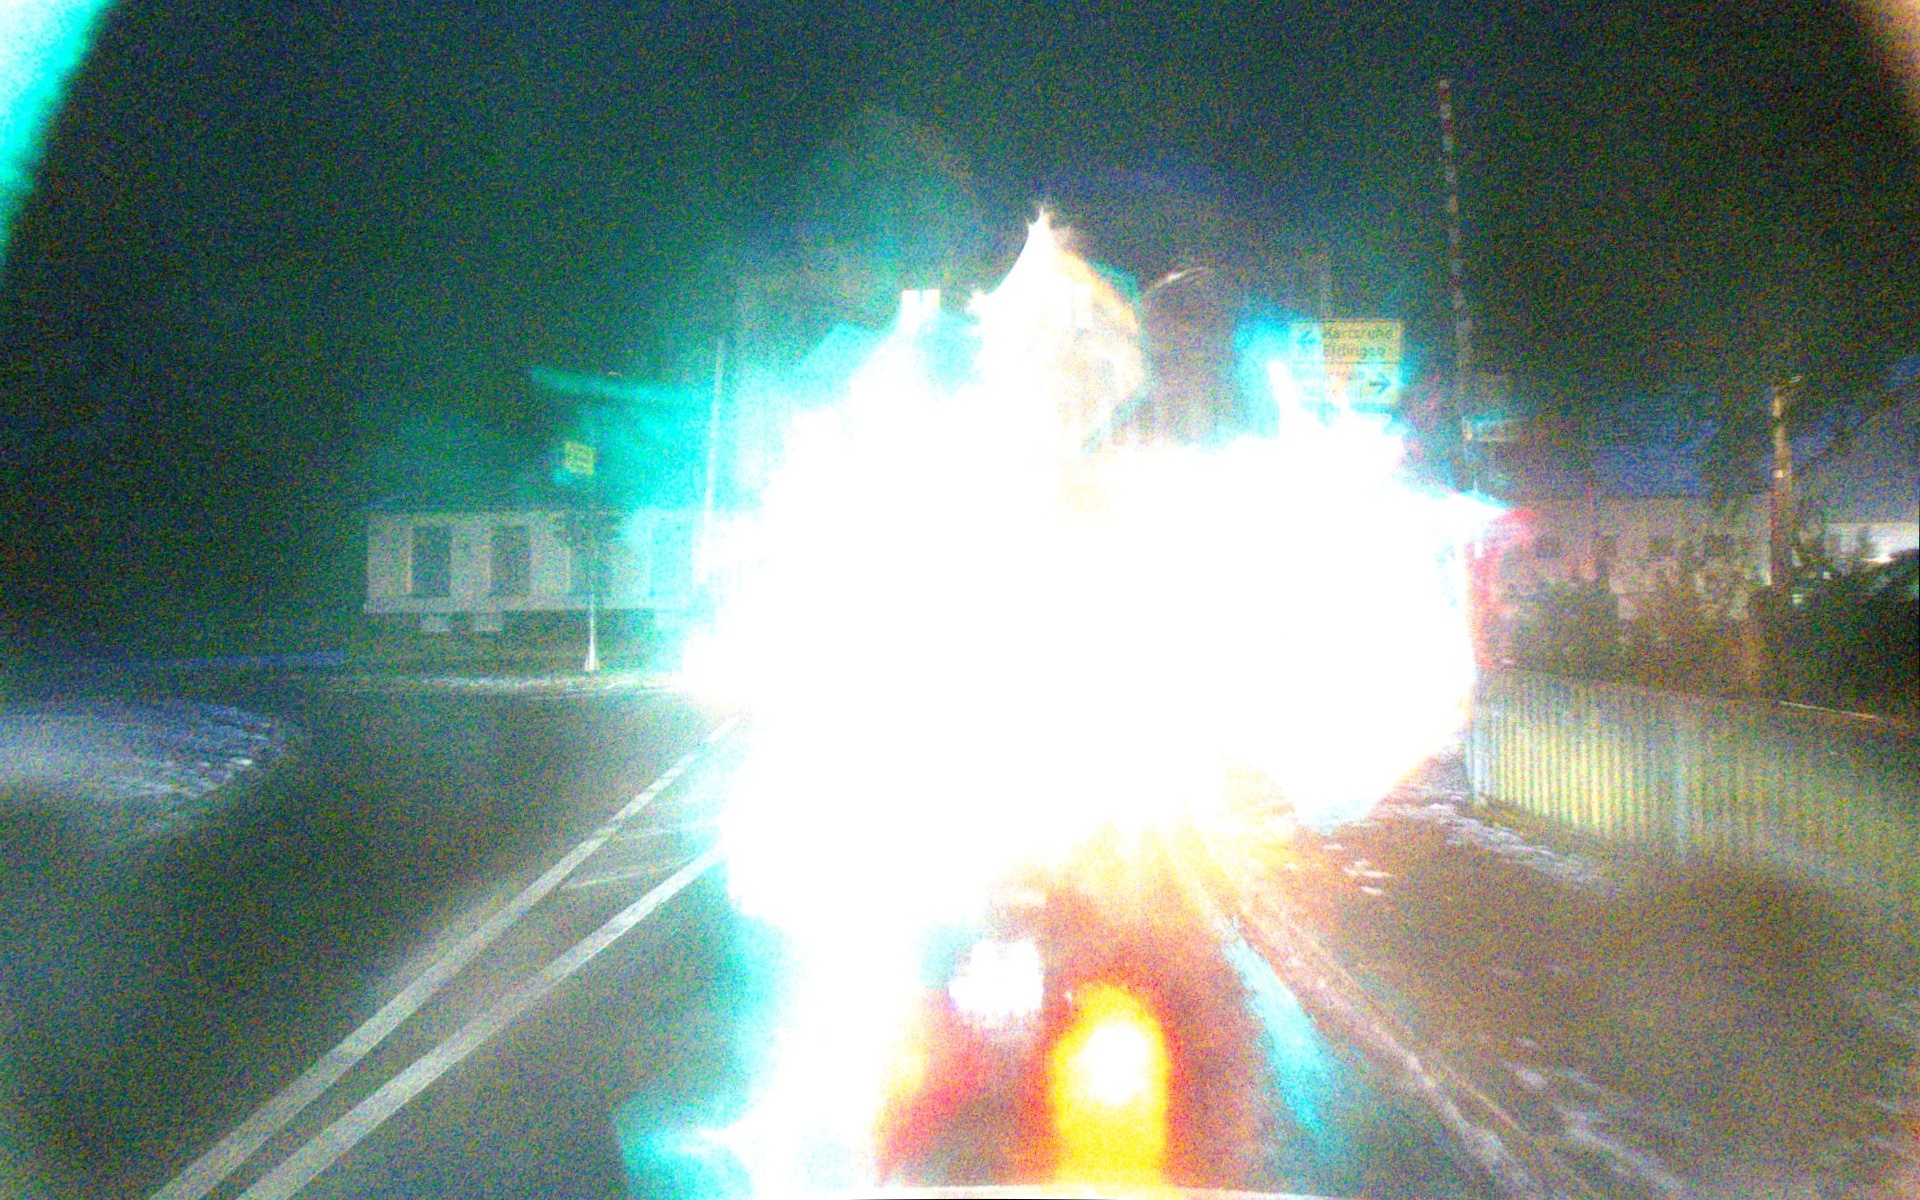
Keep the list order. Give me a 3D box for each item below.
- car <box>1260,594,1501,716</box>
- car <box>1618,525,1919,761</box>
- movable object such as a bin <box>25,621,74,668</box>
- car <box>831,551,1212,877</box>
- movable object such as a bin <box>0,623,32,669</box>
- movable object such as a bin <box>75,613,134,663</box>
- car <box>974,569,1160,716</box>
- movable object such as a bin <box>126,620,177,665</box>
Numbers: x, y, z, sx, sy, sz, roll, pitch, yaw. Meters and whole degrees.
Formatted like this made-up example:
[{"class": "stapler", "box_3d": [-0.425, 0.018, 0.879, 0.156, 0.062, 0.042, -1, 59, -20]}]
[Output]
[{"class": "car", "box_3d": [7.641, 1.015, 29.924, 4.201, 1.980, 1.758, 3, 2, -33]}, {"class": "car", "box_3d": [7.533, 0.225, 12.527, 4.372, 1.613, 1.941, -3, 1, 10]}, {"class": "movable object such as a bin", "box_3d": [-27.863, 1.348, 50.643, 1.214, 1.348, 1.144, -1, 1, -26]}, {"class": "car", "box_3d": [0.280, 0.619, 11.001, 2.016, 1.707, 4.138, 2, 0, -2]}, {"class": "movable object such as a bin", "box_3d": [-29.086, 1.408, 50.439, 1.303, 1.332, 1.165, -1, 1, -29]}, {"class": "movable object such as a bin", "box_3d": [-26.466, 1.168, 51.197, 1.366, 1.437, 1.244, 2, 0, -19]}, {"class": "car", "box_3d": [1.464, 0.504, 20.935, 1.869, 1.536, 4.244, 4, 0, 9]}, {"class": "movable object such as a bin", "box_3d": [-25.255, 1.318, 51.669, 1.295, 1.321, 1.243, 1, 1, -21]}]
